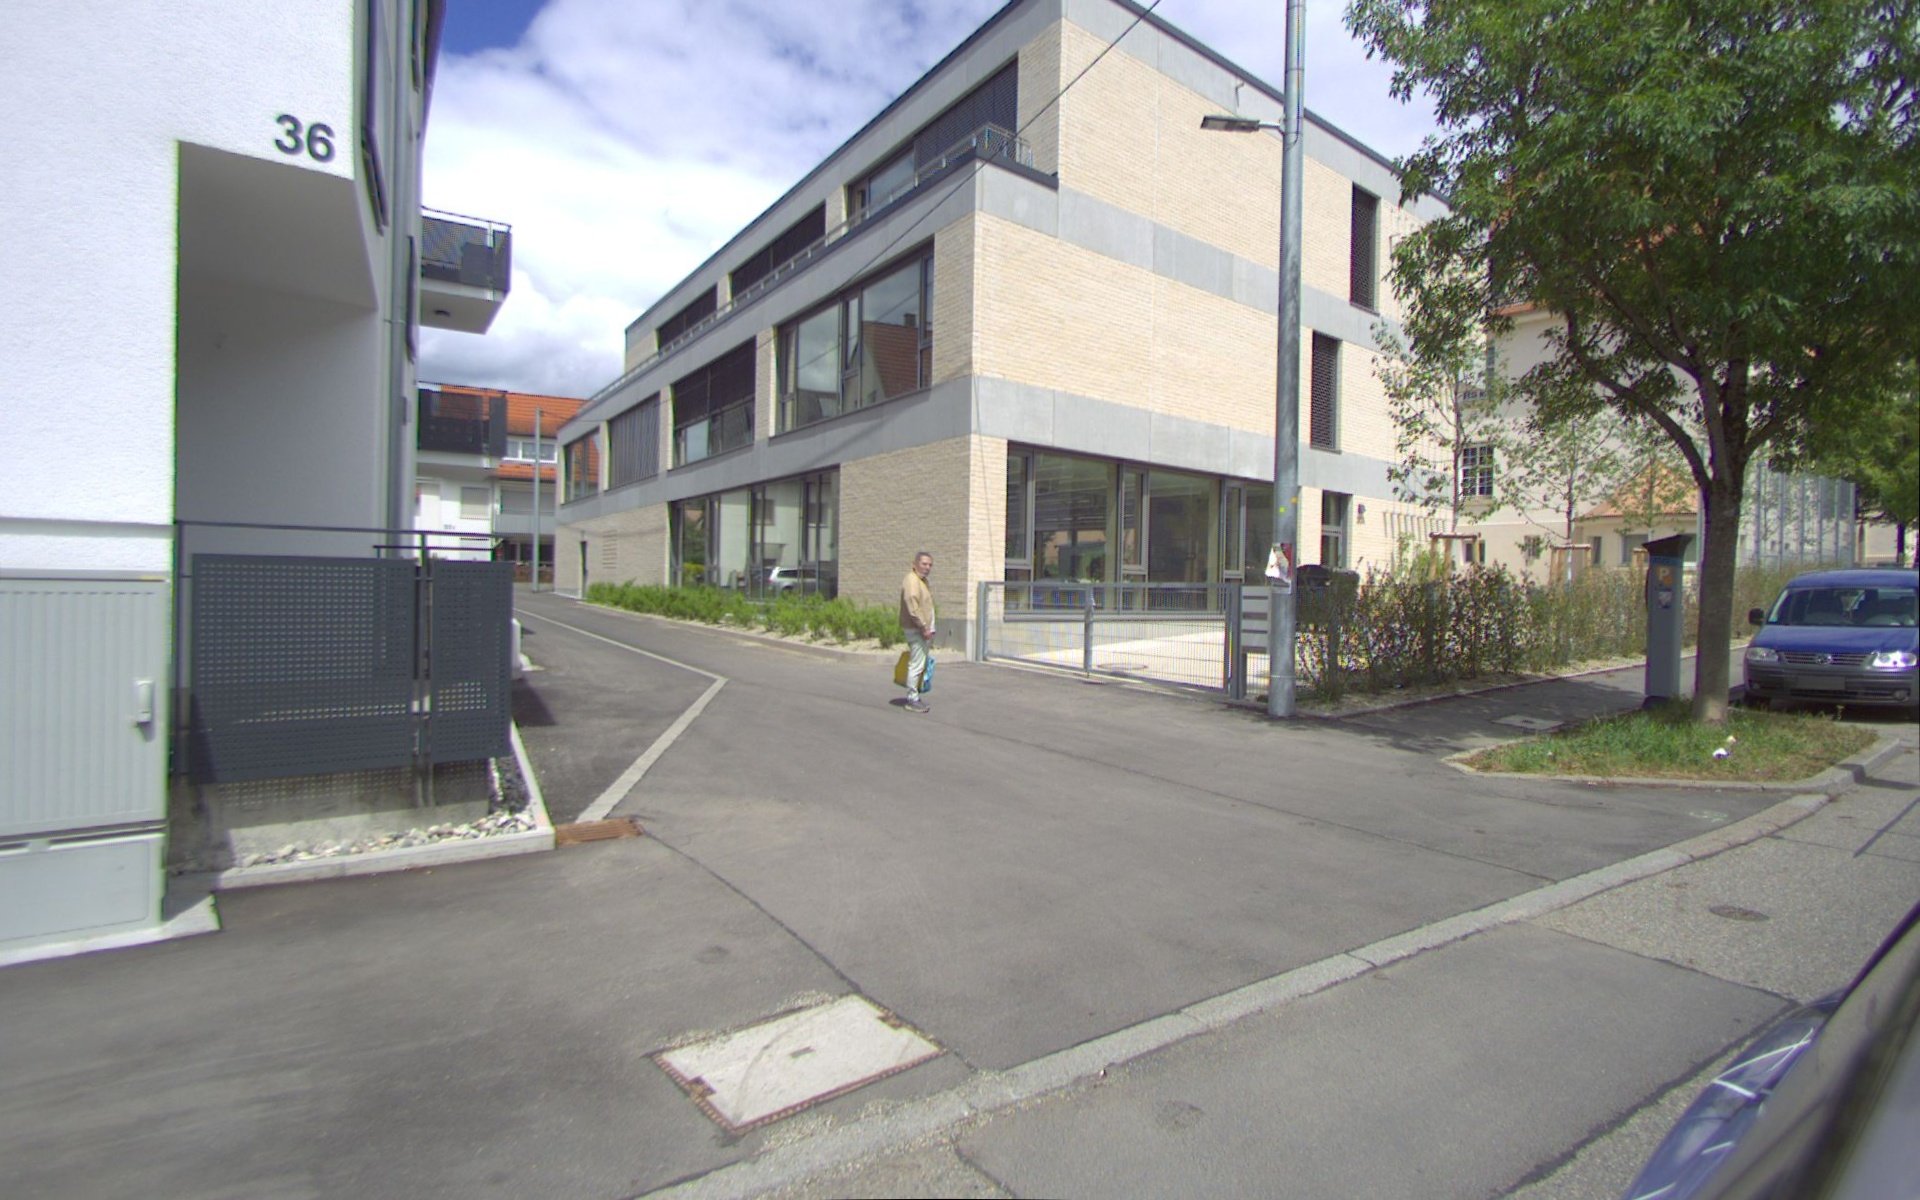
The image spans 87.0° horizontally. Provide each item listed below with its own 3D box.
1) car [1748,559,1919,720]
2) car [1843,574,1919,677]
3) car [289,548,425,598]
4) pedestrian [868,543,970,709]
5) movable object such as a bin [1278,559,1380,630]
[{"bbox_3d":[11.650,0.365,12.934,4.087,1.765,1.698,-2,2,-40],"label":"car"},{"bbox_3d":[15.948,0.362,16.607,3.606,1.538,1.676,-2,2,-40],"label":"car"},{"bbox_3d":[-20.499,-0.906,34.540,3.857,1.524,1.700,1,1,-31],"label":"car"},{"bbox_3d":[-0.448,0.258,11.045,0.815,1.725,0.774,-1,0,-42],"label":"pedestrian"},{"bbox_3d":[7.960,-0.131,21.828,1.774,1.465,1.351,0,1,-39],"label":"movable object such as a bin"}]
